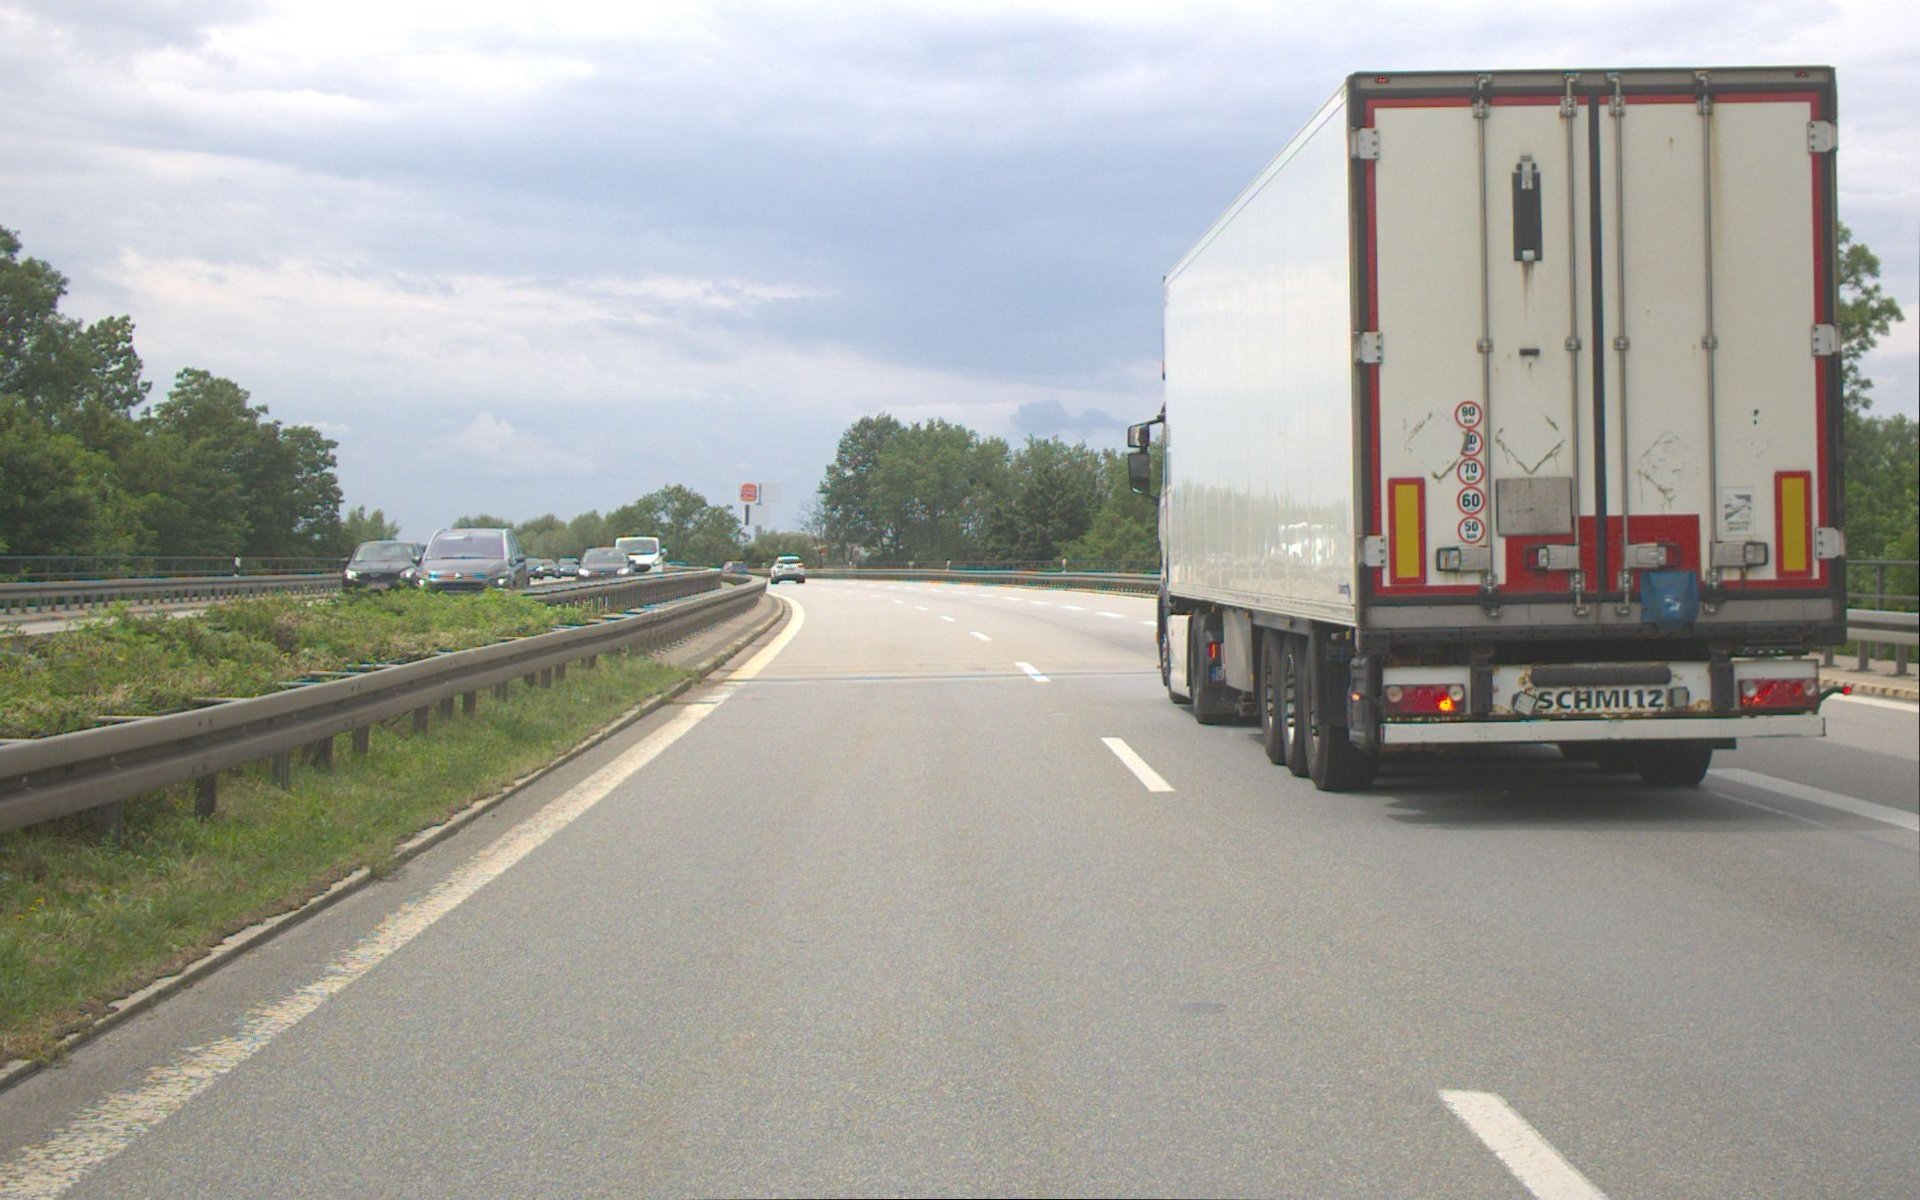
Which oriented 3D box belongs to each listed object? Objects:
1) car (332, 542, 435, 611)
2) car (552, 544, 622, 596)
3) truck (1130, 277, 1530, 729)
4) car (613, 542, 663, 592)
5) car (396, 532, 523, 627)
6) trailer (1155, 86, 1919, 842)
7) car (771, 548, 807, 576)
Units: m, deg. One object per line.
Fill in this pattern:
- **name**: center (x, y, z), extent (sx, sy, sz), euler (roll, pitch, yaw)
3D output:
- **car**: center (-13.437, -0.566, 80.337), extent (1.729, 1.554, 4.332), euler (0, 1, -1)
- **car**: center (-12.022, -0.985, 111.033), extent (1.845, 1.606, 4.947), euler (1, 1, -2)
- **truck**: center (3.330, -0.875, 32.573), extent (3.062, 3.878, 6.000), euler (0, 1, -1)
- **car**: center (-12.719, -1.321, 135.857), extent (1.771, 1.904, 4.715), euler (2, 1, -4)
- **car**: center (-9.163, -0.407, 63.256), extent (1.725, 1.645, 4.223), euler (1, 1, 0)
- **trailer**: center (3.413, -0.794, 24.595), extent (3.062, 3.877, 13.791), euler (0, 1, -1)
- **car**: center (-10.515, -2.346, 211.283), extent (1.902, 1.634, 4.396), euler (0, 0, -7)
